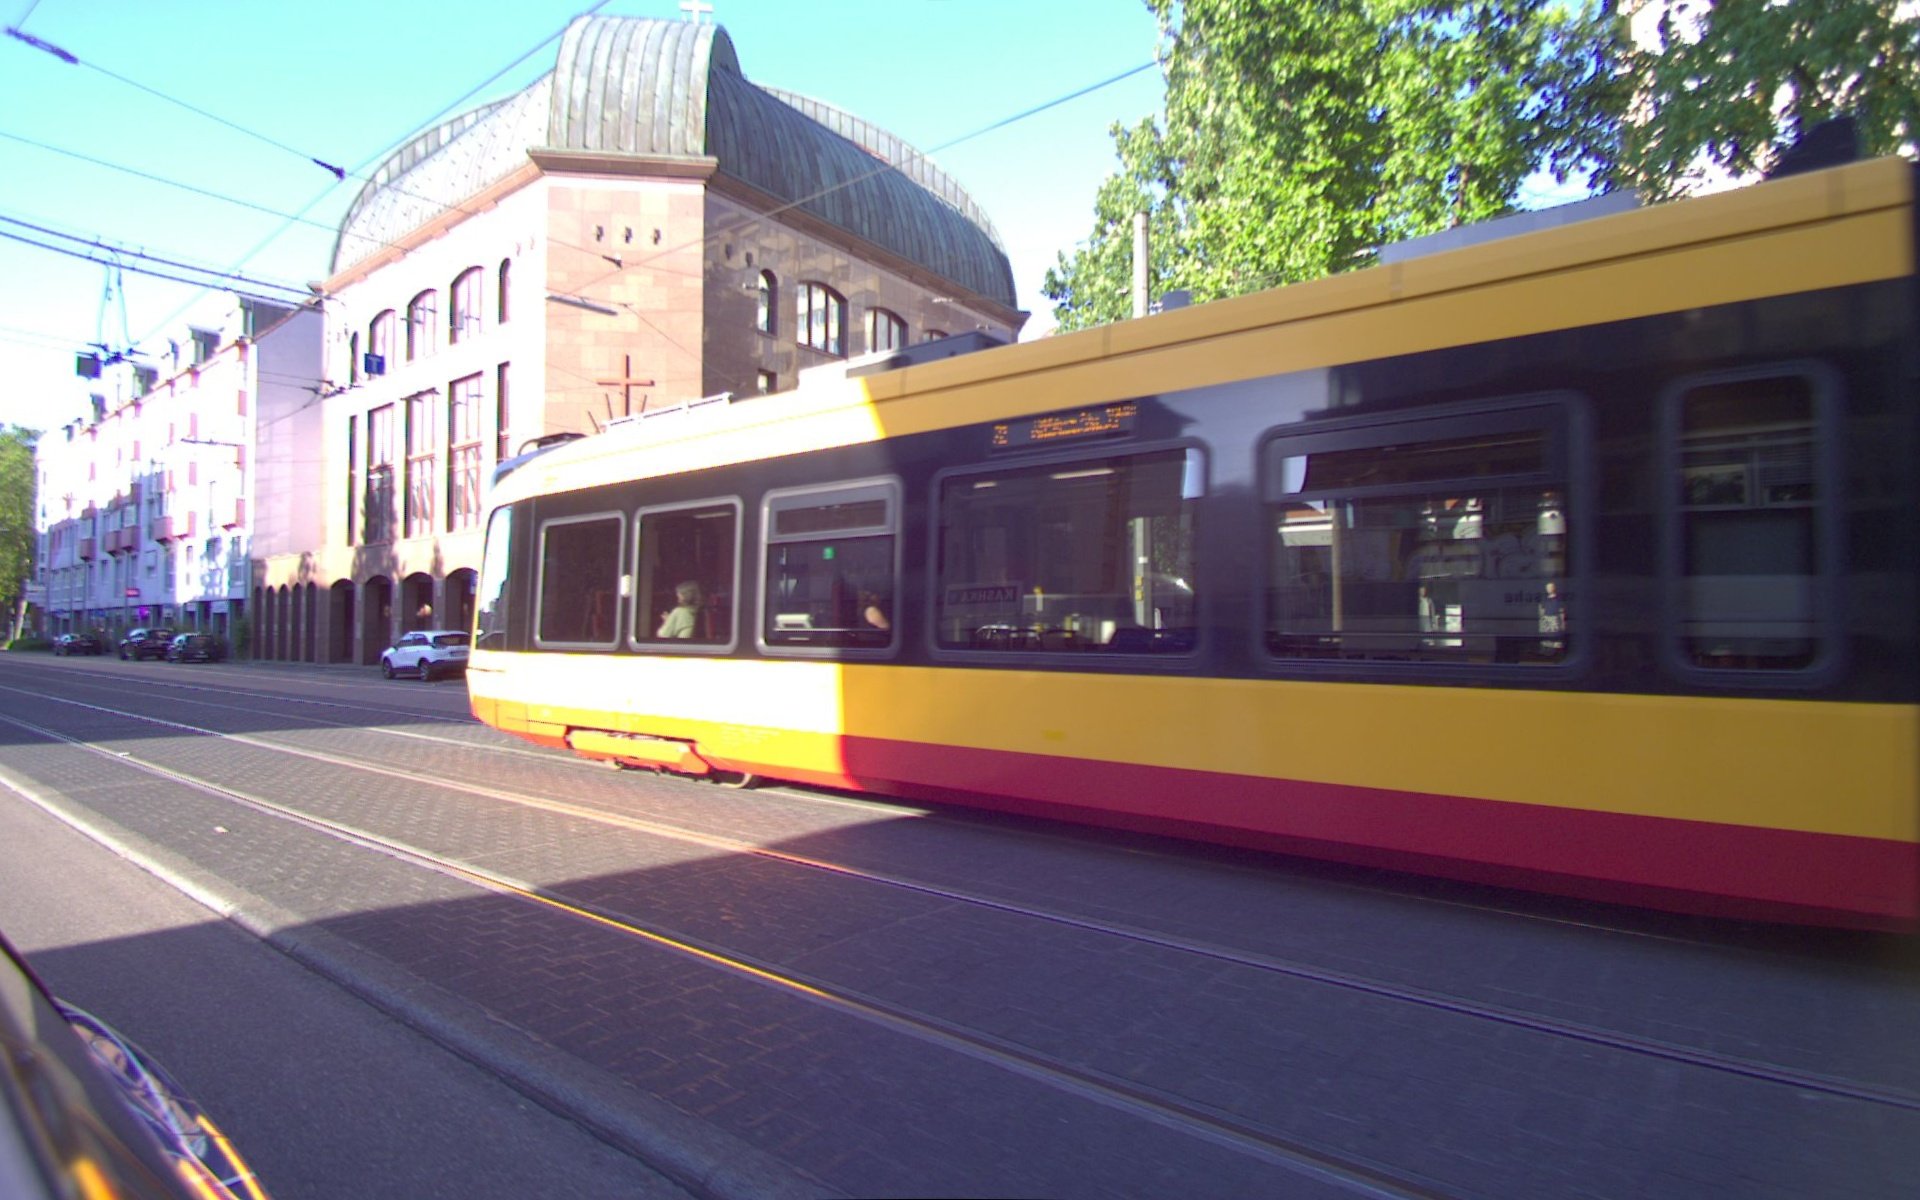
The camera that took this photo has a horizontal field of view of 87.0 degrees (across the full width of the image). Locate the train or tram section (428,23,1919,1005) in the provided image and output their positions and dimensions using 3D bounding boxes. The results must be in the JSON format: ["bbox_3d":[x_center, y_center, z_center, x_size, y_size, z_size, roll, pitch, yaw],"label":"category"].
[{"bbox_3d":[-0.320,-0.196,8.572,12.454,3.578,2.731,-1,-3,39],"label":"train or tram section"}]

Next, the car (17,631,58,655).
[{"bbox_3d":[-70.377,3.276,77.206,4.383,1.811,1.906,-2,-3,42],"label":"car"}]

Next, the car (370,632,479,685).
[{"bbox_3d":[-17.815,1.888,33.590,4.271,1.602,1.580,-1,0,38],"label":"car"}]

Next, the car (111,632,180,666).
[{"bbox_3d":[-43.945,2.590,54.572,4.554,1.713,1.940,-2,-1,38],"label":"car"}]

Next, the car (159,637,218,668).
[{"bbox_3d":[-38.583,2.598,50.597,3.680,1.411,1.625,-2,-1,40],"label":"car"}]

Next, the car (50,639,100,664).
[{"bbox_3d":[-58.438,3.385,66.783,4.556,1.520,1.806,-2,-1,40],"label":"car"}]
